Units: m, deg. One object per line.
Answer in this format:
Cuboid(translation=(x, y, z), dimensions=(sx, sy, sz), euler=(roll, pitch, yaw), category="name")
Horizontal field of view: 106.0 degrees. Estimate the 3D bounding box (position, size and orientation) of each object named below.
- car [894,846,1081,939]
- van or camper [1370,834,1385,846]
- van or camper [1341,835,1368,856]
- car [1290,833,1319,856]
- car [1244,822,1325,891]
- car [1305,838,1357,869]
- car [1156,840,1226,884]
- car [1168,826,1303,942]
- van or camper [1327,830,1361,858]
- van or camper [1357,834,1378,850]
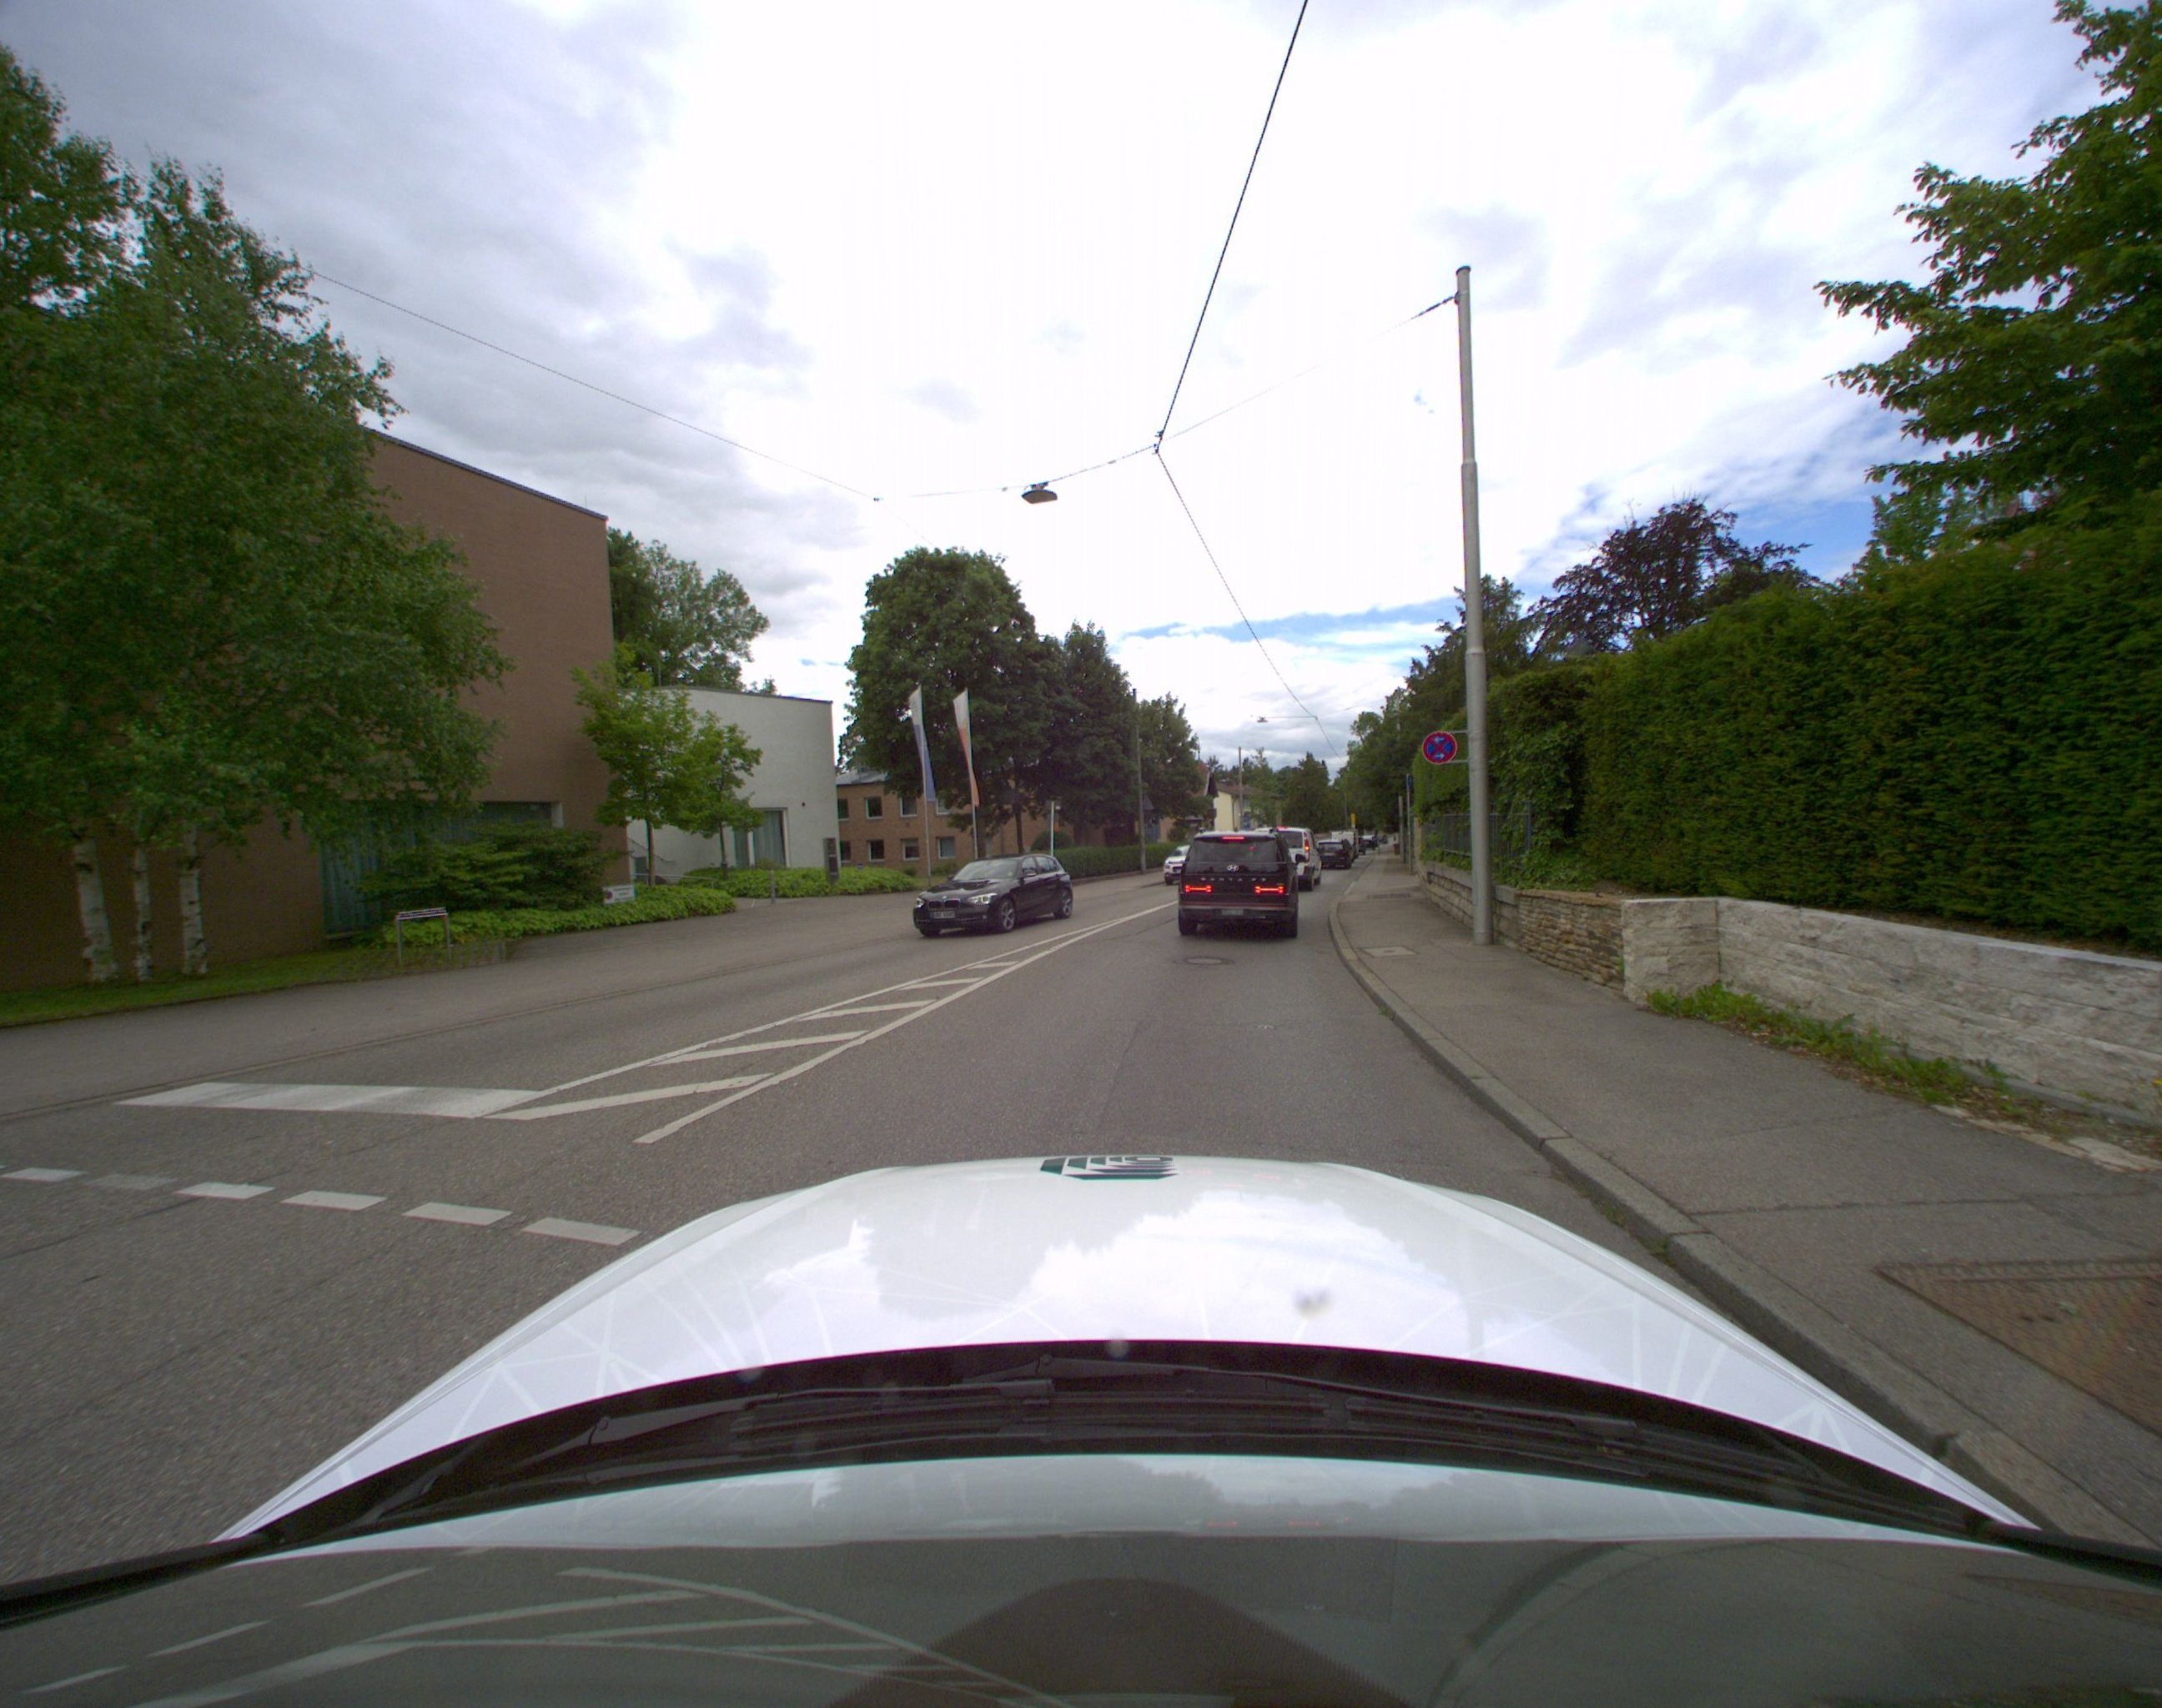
Cuboid(translation=(-1.640, 0.666, 15.842), dimensions=(1.746, 1.408, 4.023), euler=(-4, 0, 23), category="car")
Cuboid(translation=(45.010, -2.101, 123.500), dimensions=(1.976, 1.651, 4.022), euler=(-3, 0, 22), category="van or camper")
Cuboid(translation=(24.257, -0.779, 72.343), dimensions=(1.978, 1.628, 4.018), euler=(-4, 0, 16), category="van or camper")
Cuboid(translation=(19.172, -0.766, 69.793), dimensions=(1.977, 1.816, 4.019), euler=(-2, -2, 20), category="car")
Cuboid(translation=(6.515, -0.022, 25.733), dimensions=(1.940, 1.955, 4.246), euler=(2, 3, 21), category="car")
Cuboid(translation=(12.623, -0.034, 40.899), dimensions=(1.975, 1.404, 4.023), euler=(-3, 0, 24), category="car")
Cuboid(translation=(4.263, 0.265, 31.113), dimensions=(1.681, 1.439, 3.777), euler=(-5, 0, 21), category="car")
Cuboid(translation=(2.865, 0.372, 14.291), dimensions=(1.942, 1.712, 4.242), euler=(0, 2, 16), category="car")
Cuboid(translation=(19.336, -0.758, 59.792), dimensions=(1.976, 1.887, 4.022), euler=(-4, 0, 22), category="van or camper")
Cuboid(translation=(32.995, -1.377, 93.706), dimensions=(1.976, 1.651, 4.022), euler=(-3, 0, 22), category="van or camper")
